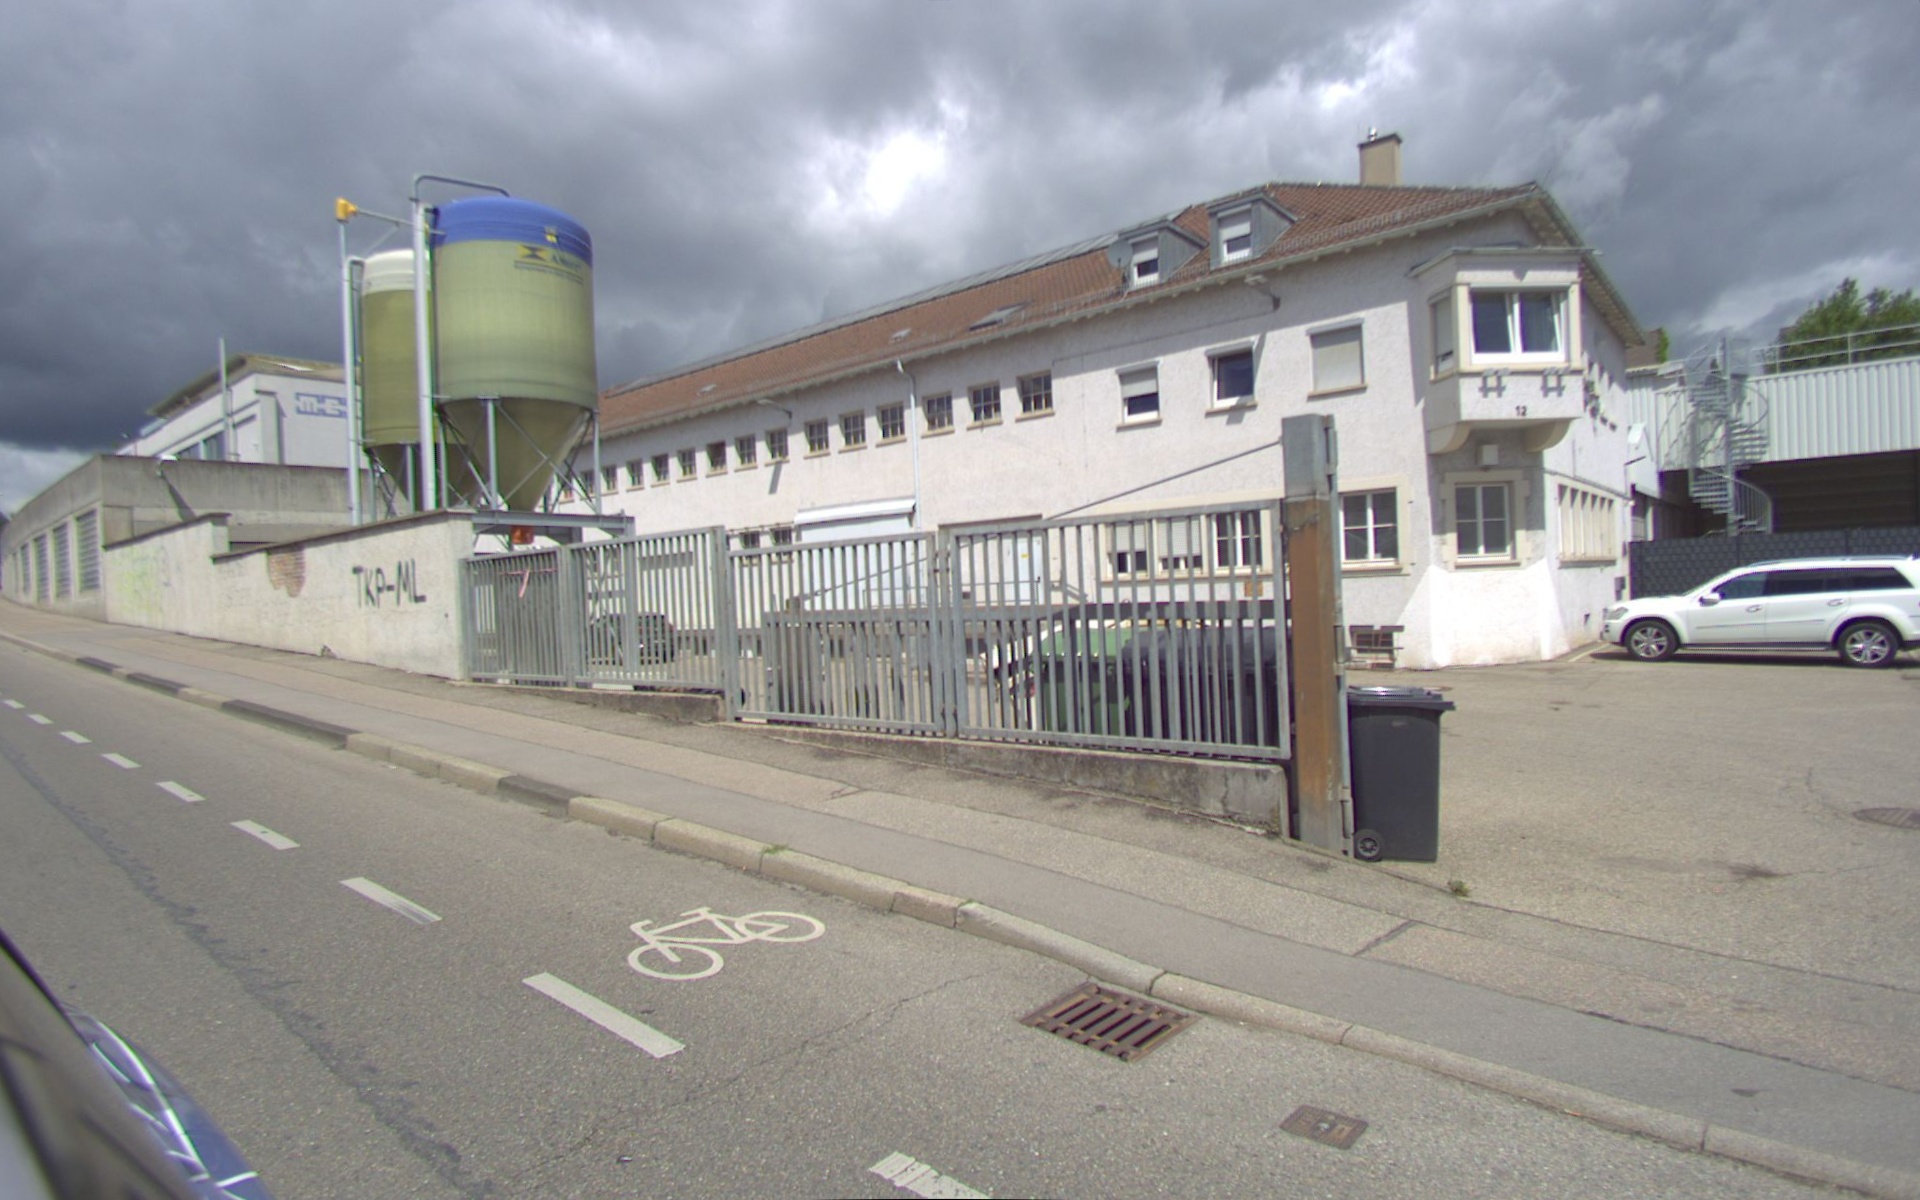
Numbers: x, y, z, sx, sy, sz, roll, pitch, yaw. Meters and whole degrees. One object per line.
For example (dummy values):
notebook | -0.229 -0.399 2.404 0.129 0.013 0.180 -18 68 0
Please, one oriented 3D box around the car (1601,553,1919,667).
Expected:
car | 14.744 0.156 18.287 5.094 1.845 1.973 -1 1 41

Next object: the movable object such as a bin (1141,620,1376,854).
movable object such as a bin | 2.019 0.843 6.878 1.215 1.403 0.980 -2 -2 42

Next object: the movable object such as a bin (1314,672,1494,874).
movable object such as a bin | 2.722 1.001 6.196 0.741 1.058 0.862 -2 -2 44
